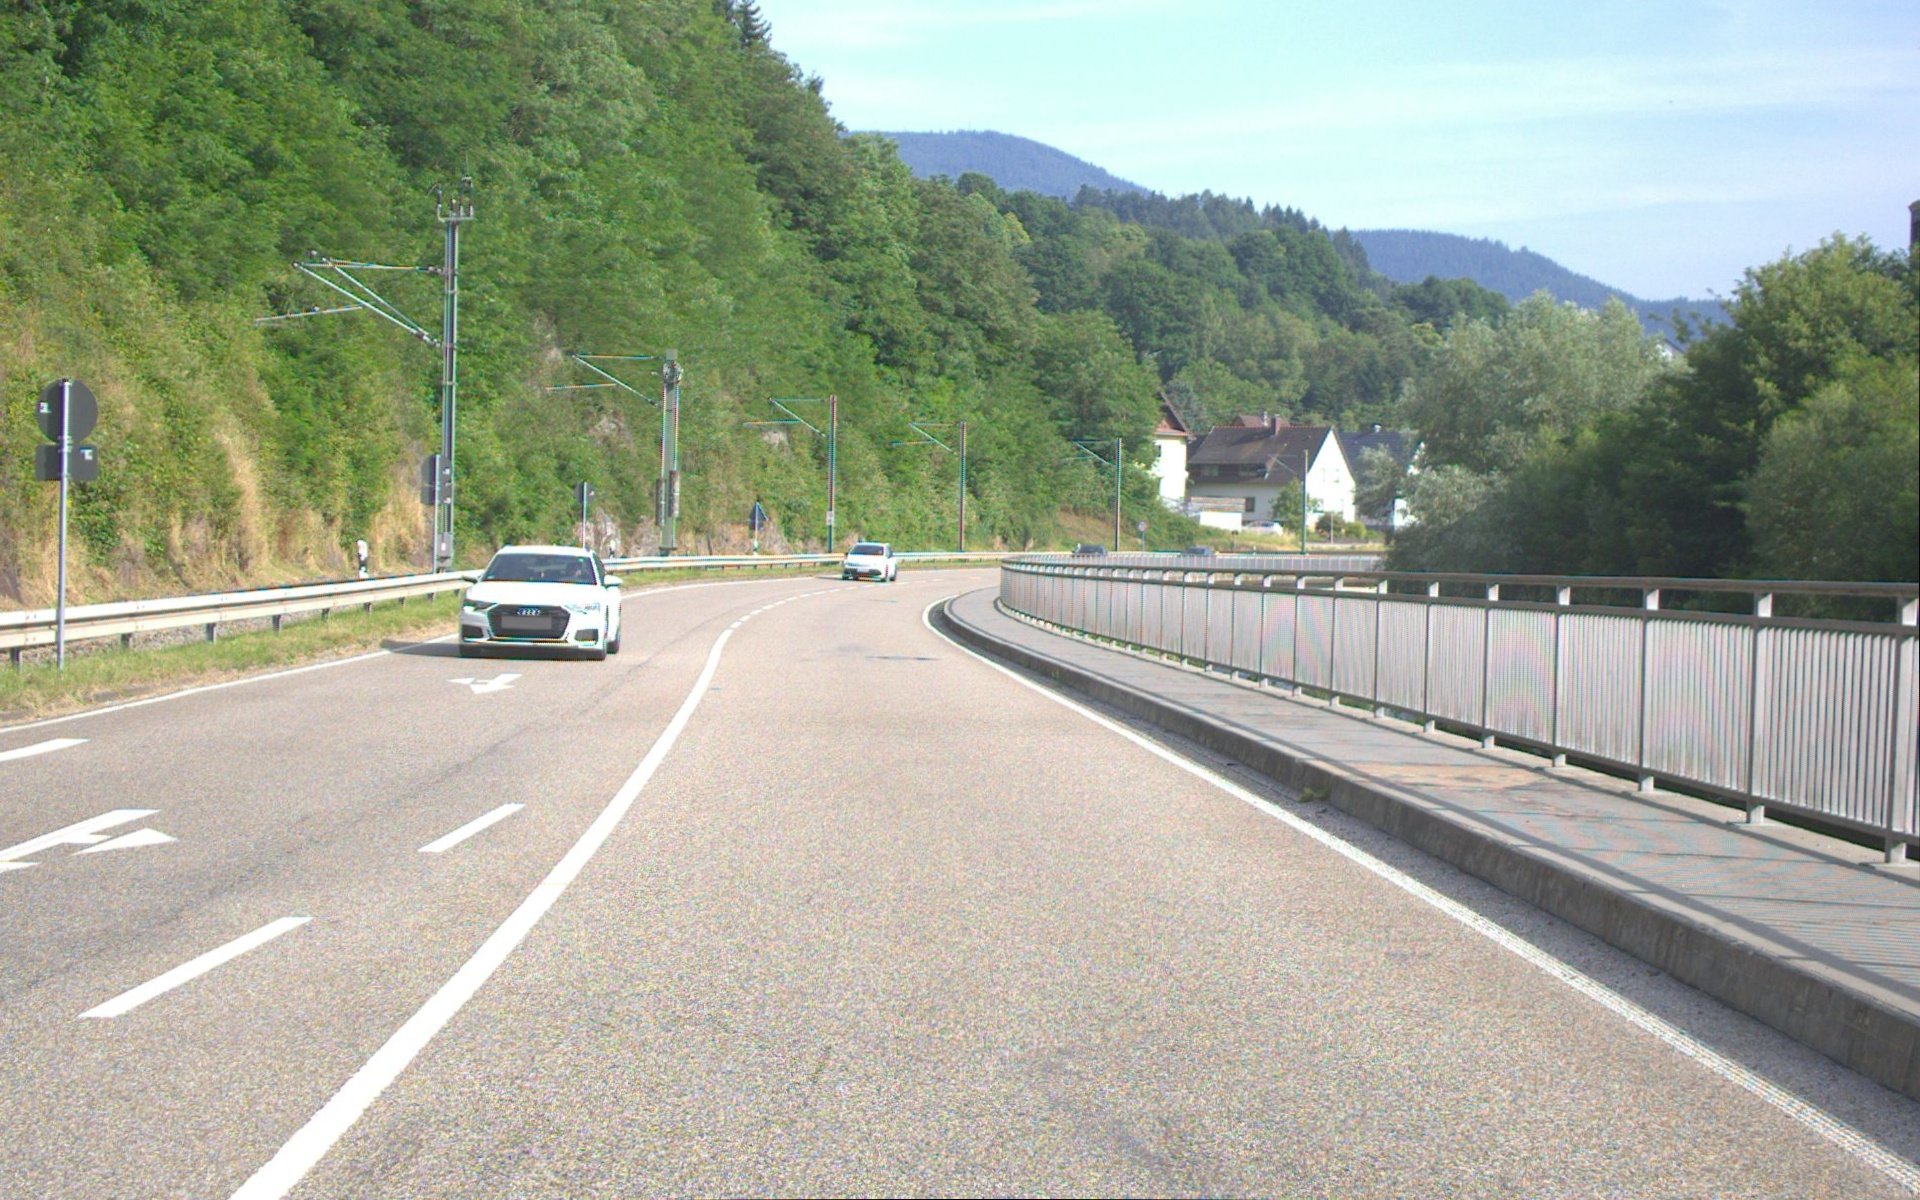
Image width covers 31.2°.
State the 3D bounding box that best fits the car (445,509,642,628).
[{"bbox_3d":[-5.473,-0.442,45.727,2.063,1.434,4.686,2,1,-1],"label":"car"}]

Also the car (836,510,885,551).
[{"bbox_3d":[-4.057,-2.822,139.100,1.847,1.539,4.605,3,1,-2],"label":"car"}]
